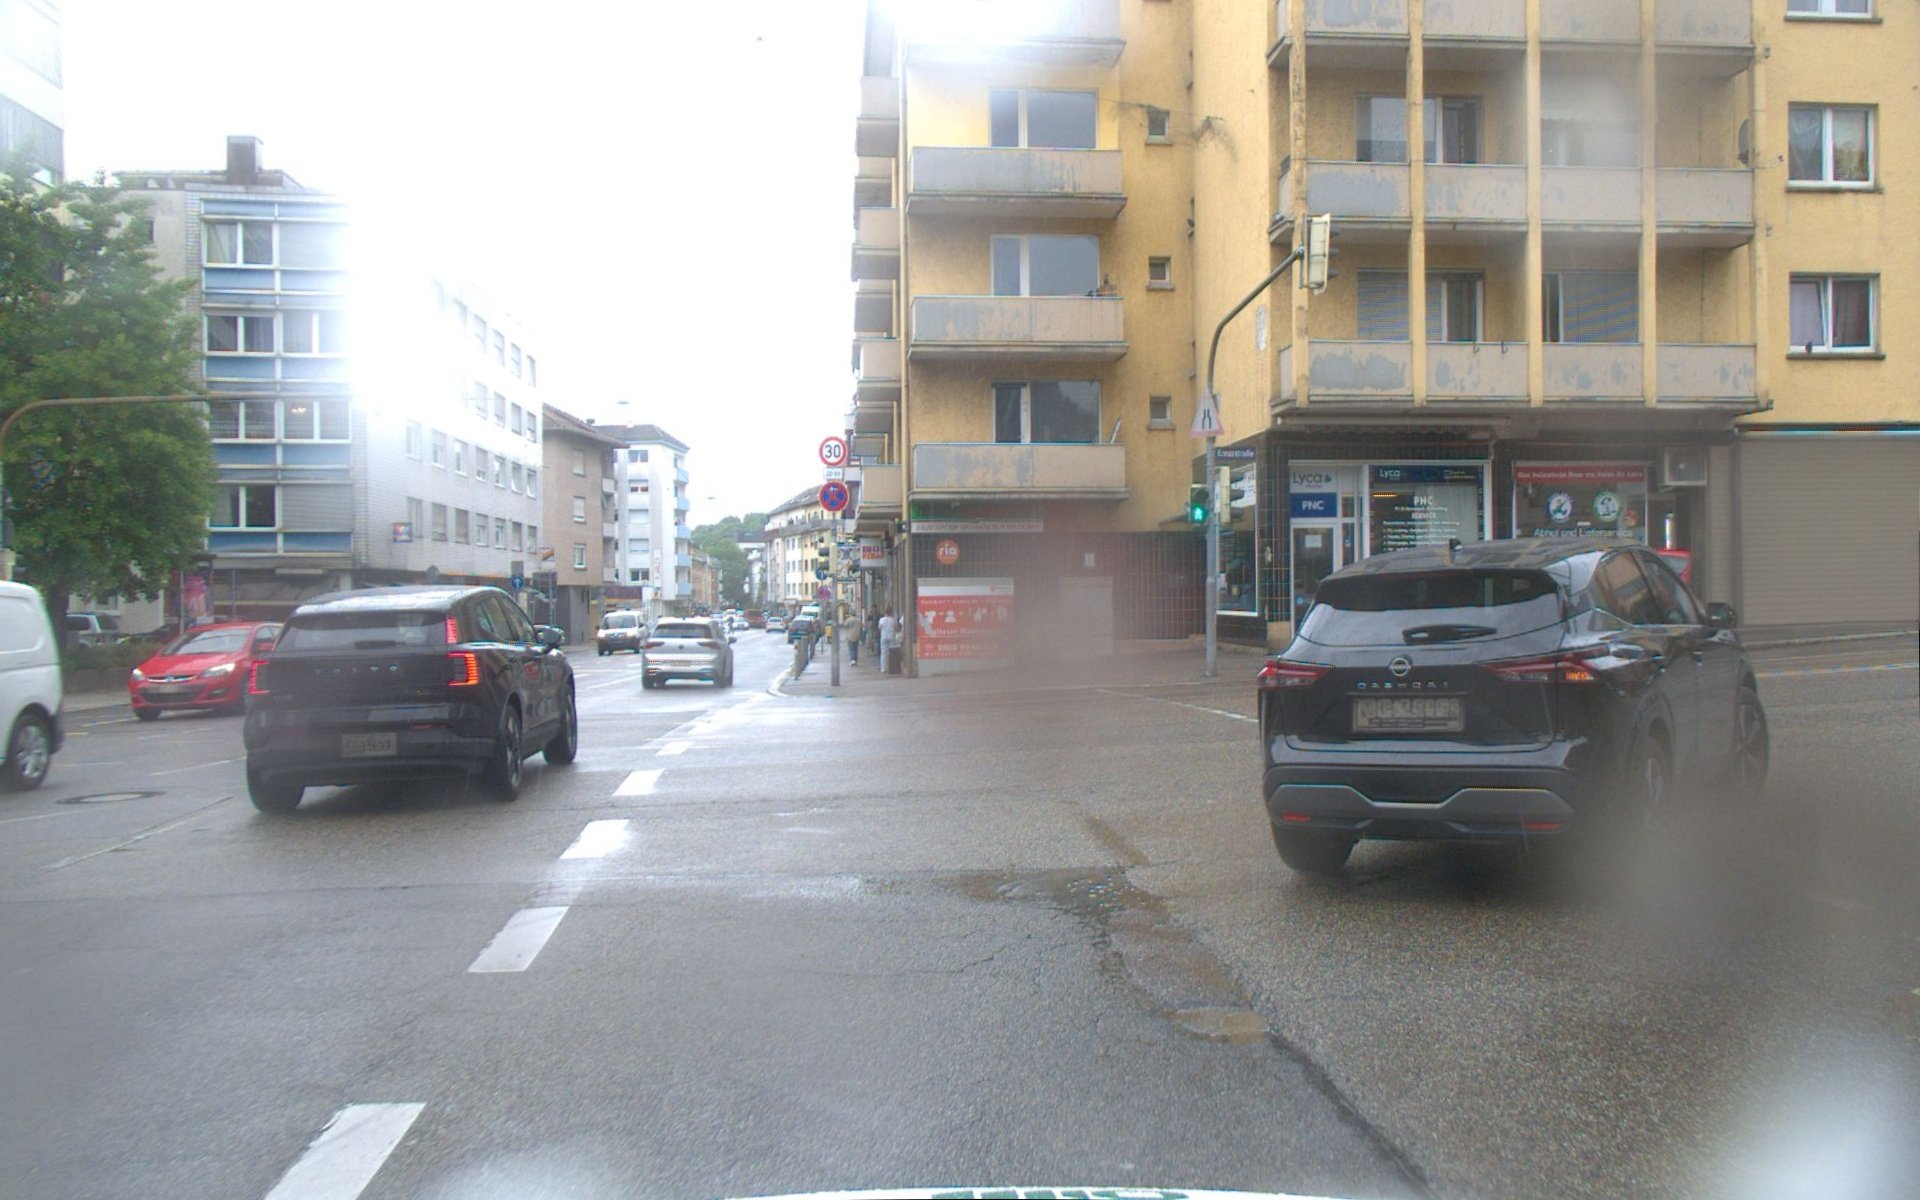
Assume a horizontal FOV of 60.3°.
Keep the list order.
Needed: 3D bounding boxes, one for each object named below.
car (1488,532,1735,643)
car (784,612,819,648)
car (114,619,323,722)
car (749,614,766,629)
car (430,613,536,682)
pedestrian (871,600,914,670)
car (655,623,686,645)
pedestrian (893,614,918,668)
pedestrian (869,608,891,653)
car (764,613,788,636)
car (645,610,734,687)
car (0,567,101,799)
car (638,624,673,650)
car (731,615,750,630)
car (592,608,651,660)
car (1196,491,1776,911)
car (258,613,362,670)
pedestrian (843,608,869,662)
[{"bbox_3d":[10.560,-0.227,26.907,3.405,1.584,1.471,-3,1,-6],"label":"car"},{"bbox_3d":[-9.821,1.818,102.081,1.956,2.048,3.994,-3,0,-7],"label":"car"},{"bbox_3d":[-12.279,1.107,27.701,1.770,1.434,4.387,-3,0,-5],"label":"car"},{"bbox_3d":[-24.889,2.609,203.479,1.955,1.666,4.825,-2,0,-6],"label":"car"},{"bbox_3d":[-12.541,1.221,43.679,1.744,1.624,3.792,-2,0,-2],"label":"car"},{"bbox_3d":[-1.643,0.837,40.079,0.819,1.584,0.832,-6,0,-6],"label":"pedestrian"},{"bbox_3d":[-21.588,2.511,123.460,1.956,1.478,3.994,-3,0,-7],"label":"car"},{"bbox_3d":[-1.337,0.995,40.352,0.454,1.254,0.554,-6,0,-5],"label":"pedestrian"},{"bbox_3d":[-2.845,1.068,58.680,0.614,1.585,0.706,-1,0,10],"label":"pedestrian"},{"bbox_3d":[-17.341,2.282,156.131,1.954,2.049,3.997,-3,0,-3],"label":"car"},{"bbox_3d":[-5.776,0.992,35.609,1.734,1.469,3.993,-2,0,-8],"label":"car"},{"bbox_3d":[-8.533,0.696,12.593,1.744,1.847,4.404,-2,0,-2],"label":"car"},{"bbox_3d":[-19.996,2.417,108.798,1.956,1.478,3.993,-3,0,-8],"label":"car"},{"bbox_3d":[-24.743,2.536,186.448,1.955,1.512,3.995,-2,0,-6],"label":"car"},{"bbox_3d":[-14.616,1.427,71.622,1.873,2.048,3.996,-3,0,-4],"label":"car"},{"bbox_3d":[3.006,0.376,8.814,1.925,1.681,3.989,-2,0,33],"label":"car"},{"bbox_3d":[-18.933,1.182,48.332,1.745,1.504,3.789,-2,0,-5],"label":"car"},{"bbox_3d":[-3.134,1.052,50.049,0.689,1.585,0.630,-1,0,4],"label":"pedestrian"}]
